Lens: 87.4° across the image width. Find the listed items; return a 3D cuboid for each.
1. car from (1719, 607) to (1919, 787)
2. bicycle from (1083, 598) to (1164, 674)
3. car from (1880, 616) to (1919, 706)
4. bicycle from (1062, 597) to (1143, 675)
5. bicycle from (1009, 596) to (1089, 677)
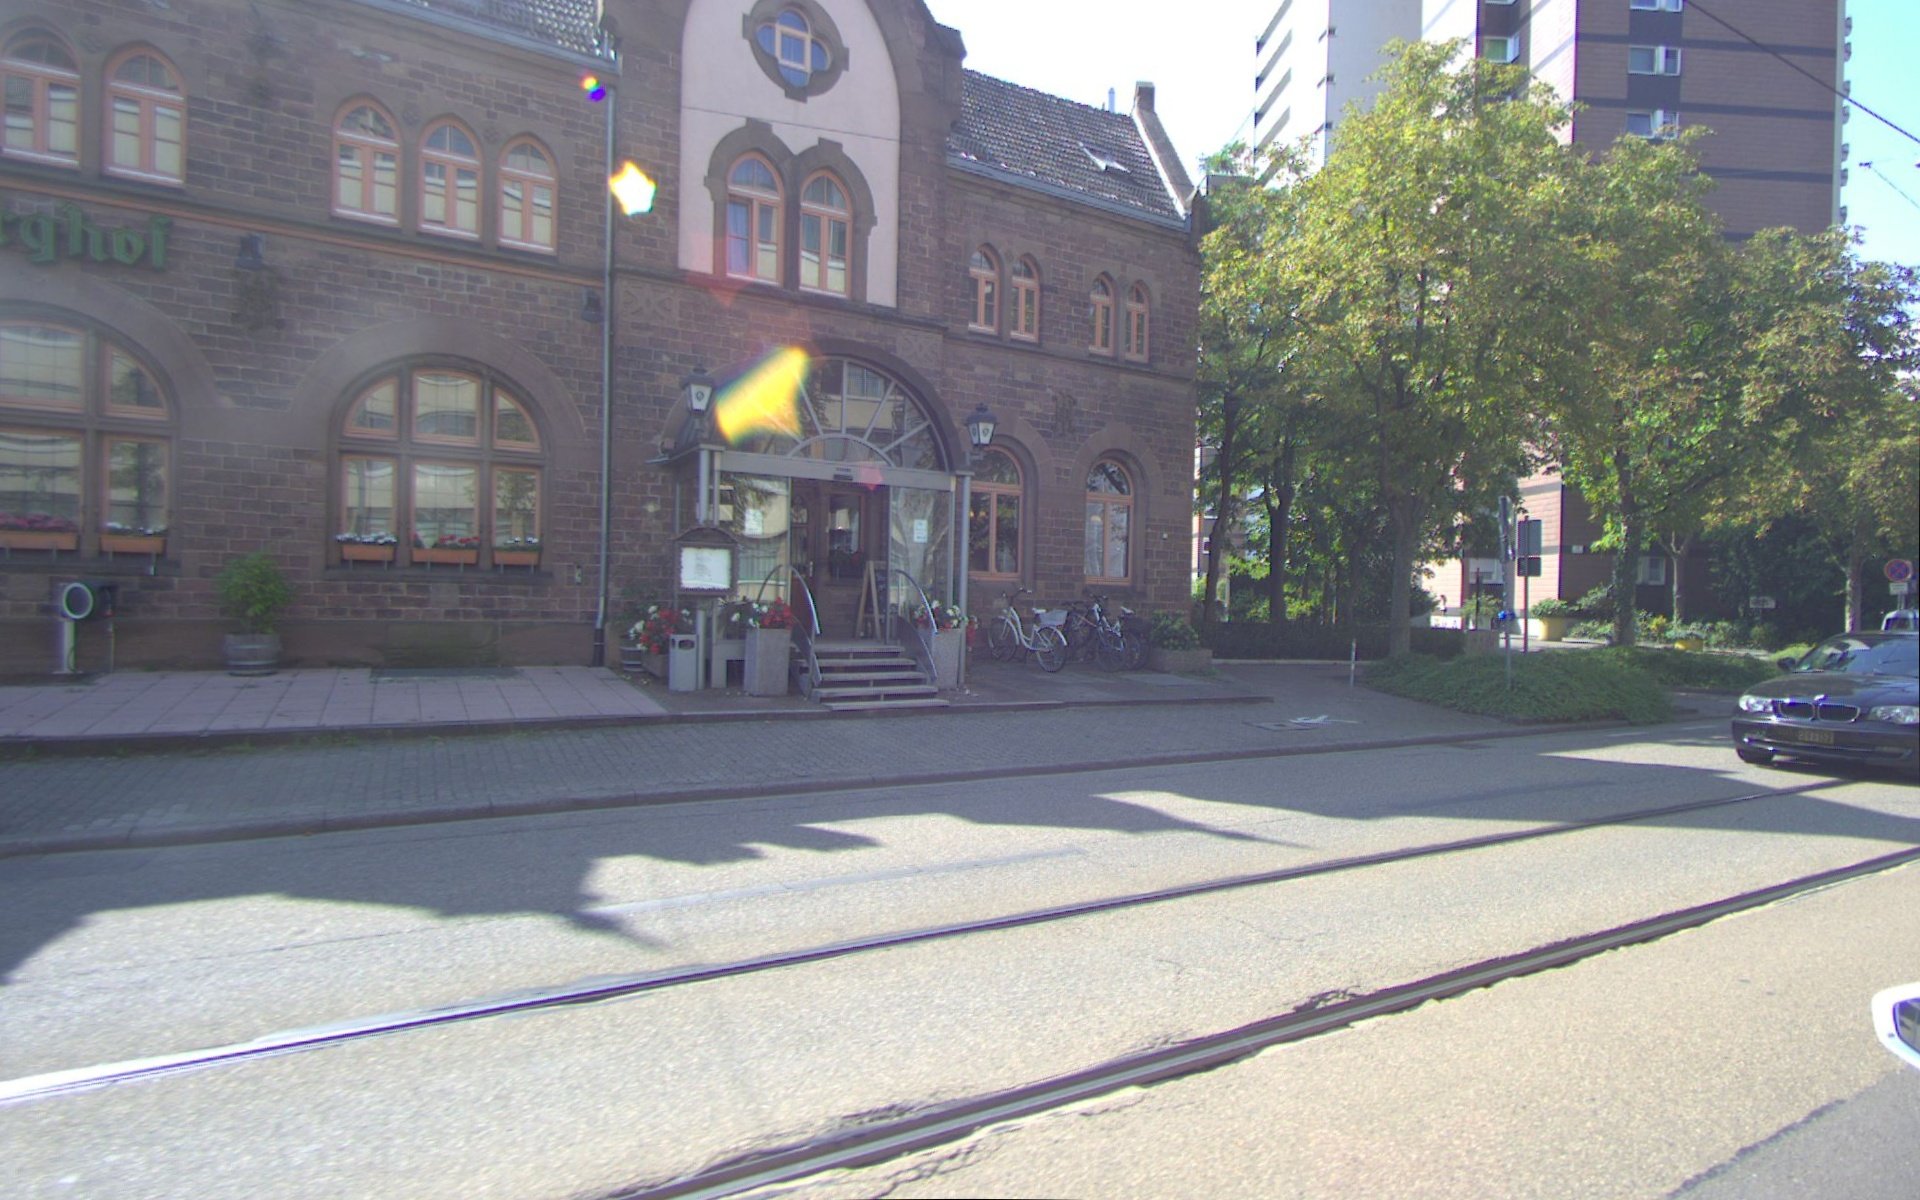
[{"bbox_3d":[10.131,0.917,10.754,4.155,1.592,1.674,1,0,-30],"label":"car"},{"bbox_3d":[2.686,0.570,16.588,0.395,1.108,1.442,1,4,-33],"label":"bicycle"},{"bbox_3d":[20.726,1.279,20.722,1.721,1.820,3.992,2,1,30],"label":"car"},{"bbox_3d":[2.303,0.563,16.361,0.395,1.108,1.442,1,4,-33],"label":"bicycle"},{"bbox_3d":[1.371,0.545,15.751,0.395,1.108,1.442,1,4,-33],"label":"bicycle"}]
